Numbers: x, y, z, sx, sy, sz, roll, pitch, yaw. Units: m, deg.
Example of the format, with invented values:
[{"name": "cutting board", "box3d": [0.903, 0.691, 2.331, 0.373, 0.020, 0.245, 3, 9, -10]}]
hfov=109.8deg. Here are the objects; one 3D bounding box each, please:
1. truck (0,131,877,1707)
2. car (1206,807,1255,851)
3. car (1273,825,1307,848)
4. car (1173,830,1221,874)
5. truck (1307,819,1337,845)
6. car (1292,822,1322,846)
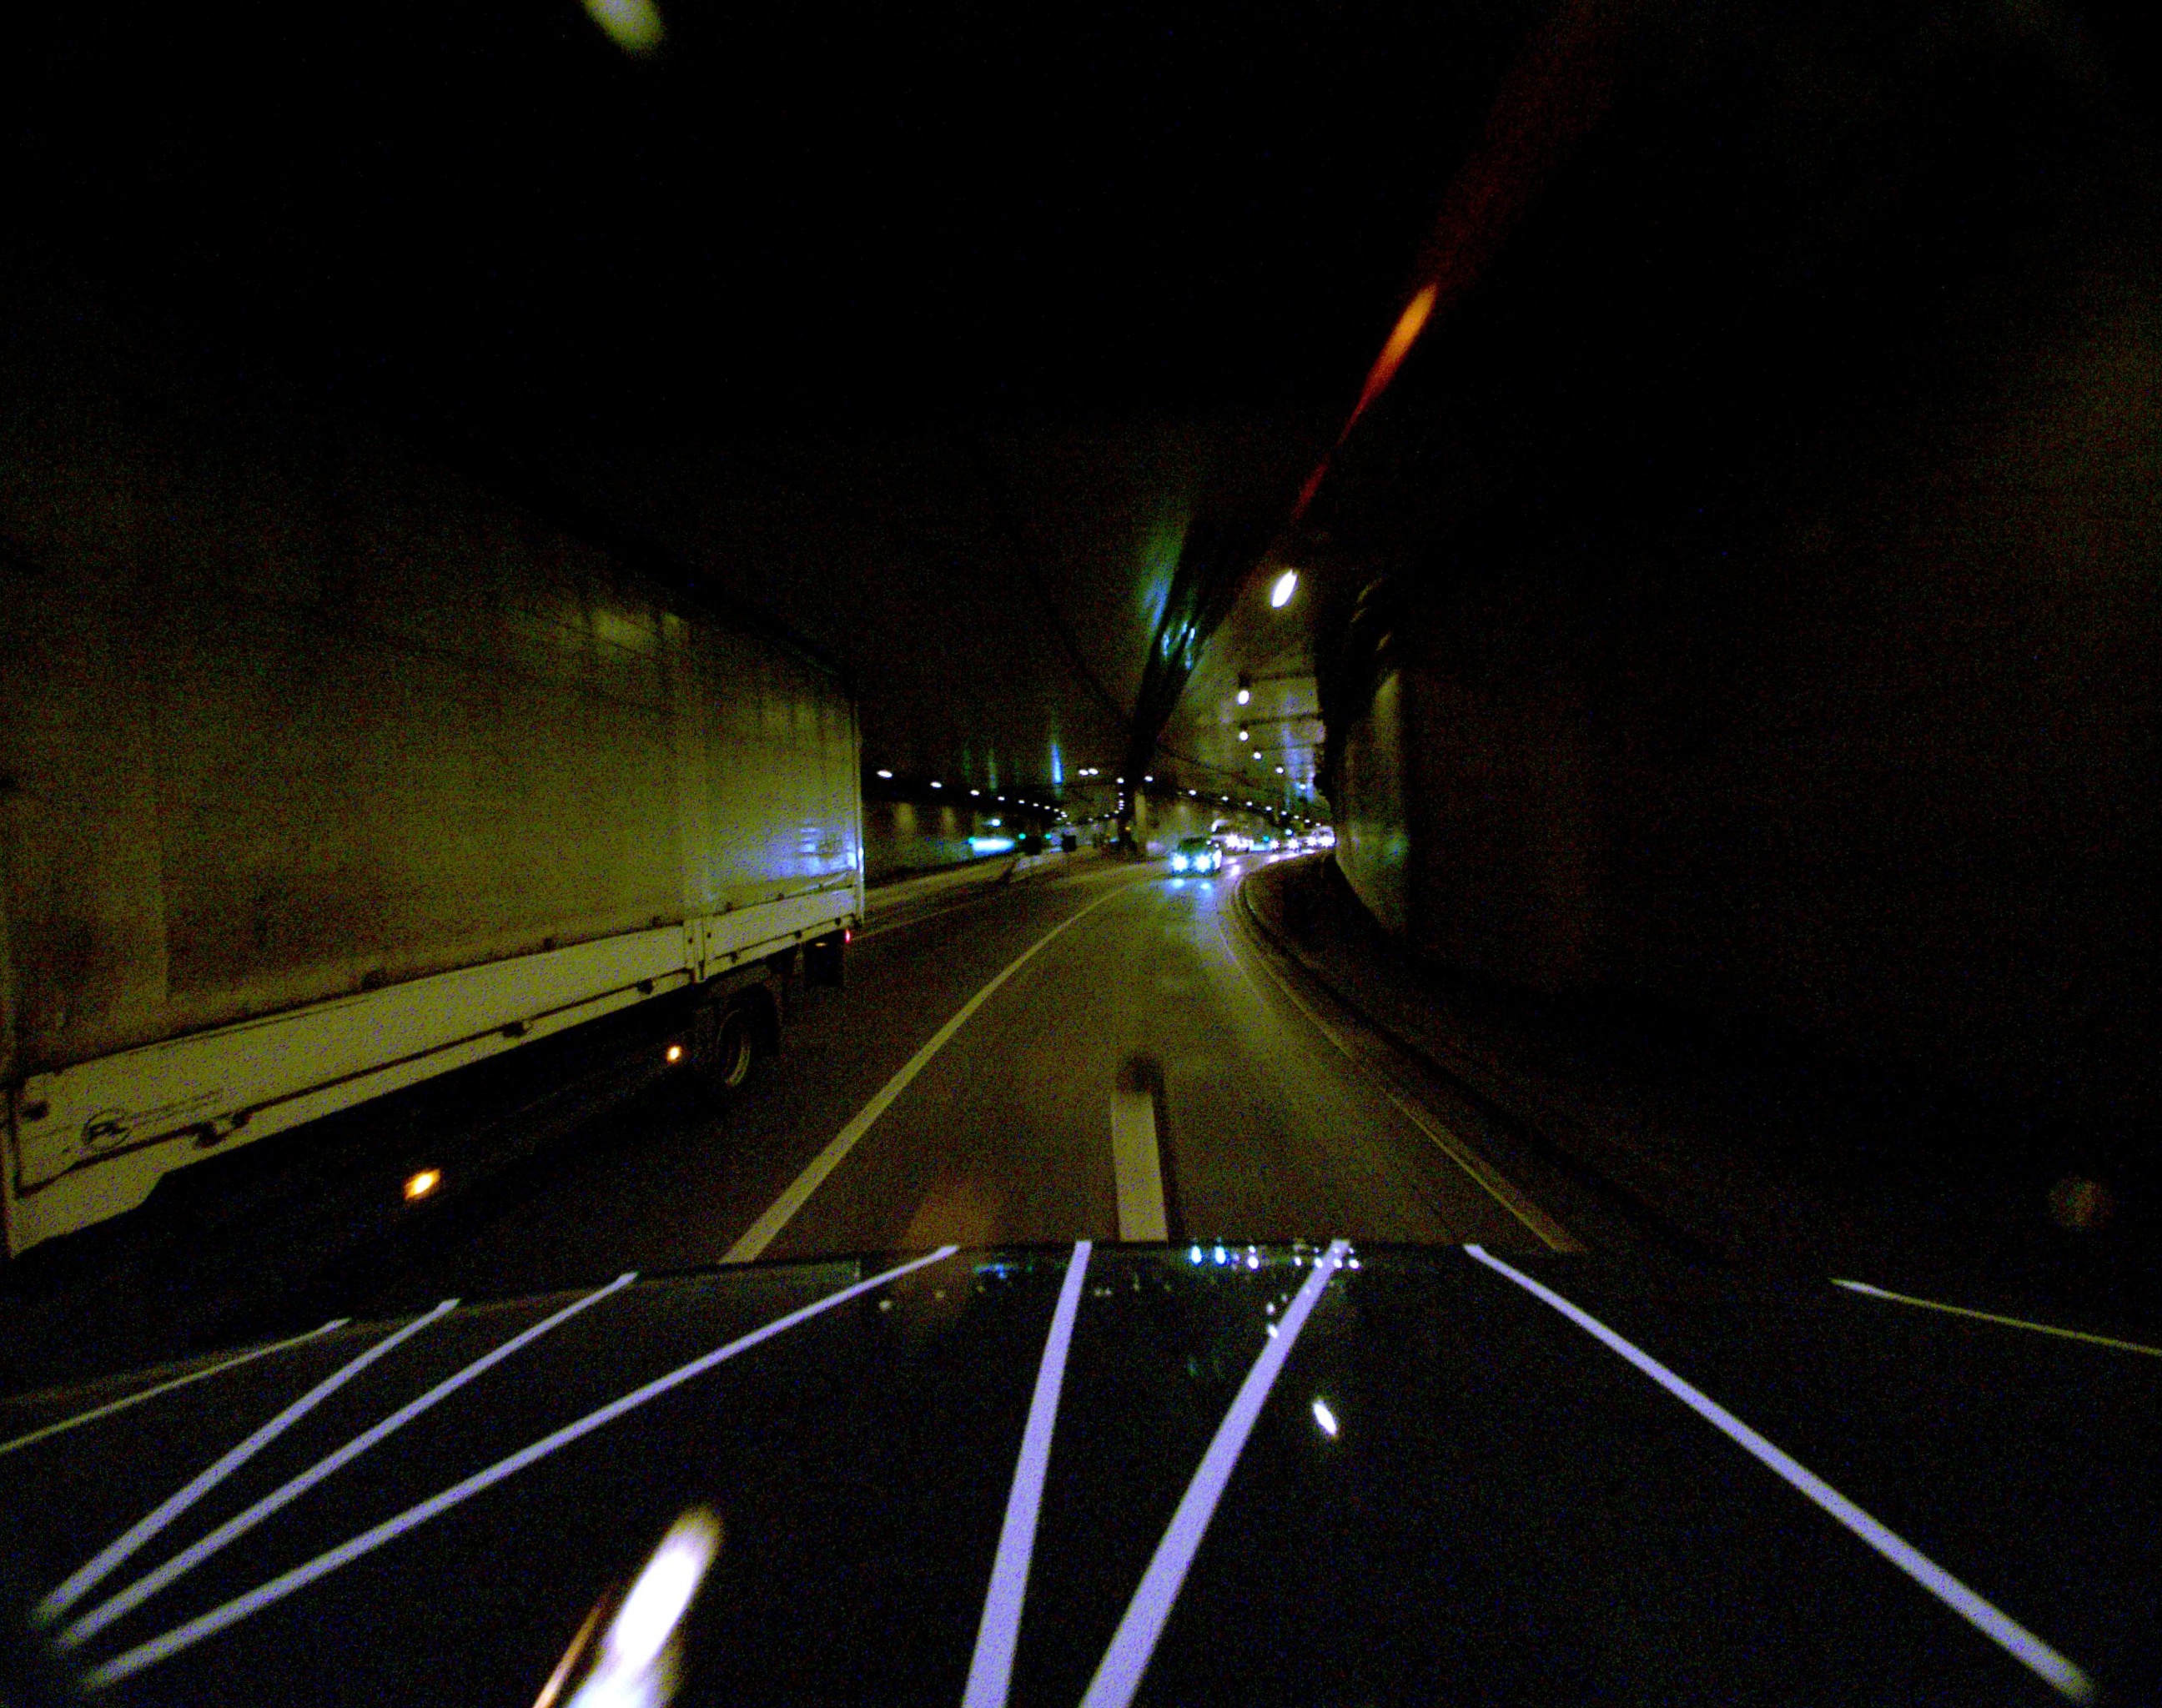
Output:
[{"name": "truck", "box3d": [-3.307, 0.166, 3.236, 2.559, 3.163, 7.245, -2, 1, 2]}, {"name": "car", "box3d": [11.082, -1.759, 55.808, 2.103, 2.830, 6.874, -1, -1, 23]}, {"name": "car", "box3d": [15.867, -1.348, 57.548, 1.762, 1.552, 3.824, -4, 0, 25]}, {"name": "car", "box3d": [4.730, -0.124, 30.609, 1.637, 1.552, 3.718, -1, 2, 12]}, {"name": "truck", "box3d": [26.391, -2.487, 83.045, 2.071, 2.525, 6.032, -4, 1, 27]}, {"name": "car", "box3d": [20.684, -1.792, 69.435, 1.932, 1.917, 4.205, -3, -3, 25]}]
